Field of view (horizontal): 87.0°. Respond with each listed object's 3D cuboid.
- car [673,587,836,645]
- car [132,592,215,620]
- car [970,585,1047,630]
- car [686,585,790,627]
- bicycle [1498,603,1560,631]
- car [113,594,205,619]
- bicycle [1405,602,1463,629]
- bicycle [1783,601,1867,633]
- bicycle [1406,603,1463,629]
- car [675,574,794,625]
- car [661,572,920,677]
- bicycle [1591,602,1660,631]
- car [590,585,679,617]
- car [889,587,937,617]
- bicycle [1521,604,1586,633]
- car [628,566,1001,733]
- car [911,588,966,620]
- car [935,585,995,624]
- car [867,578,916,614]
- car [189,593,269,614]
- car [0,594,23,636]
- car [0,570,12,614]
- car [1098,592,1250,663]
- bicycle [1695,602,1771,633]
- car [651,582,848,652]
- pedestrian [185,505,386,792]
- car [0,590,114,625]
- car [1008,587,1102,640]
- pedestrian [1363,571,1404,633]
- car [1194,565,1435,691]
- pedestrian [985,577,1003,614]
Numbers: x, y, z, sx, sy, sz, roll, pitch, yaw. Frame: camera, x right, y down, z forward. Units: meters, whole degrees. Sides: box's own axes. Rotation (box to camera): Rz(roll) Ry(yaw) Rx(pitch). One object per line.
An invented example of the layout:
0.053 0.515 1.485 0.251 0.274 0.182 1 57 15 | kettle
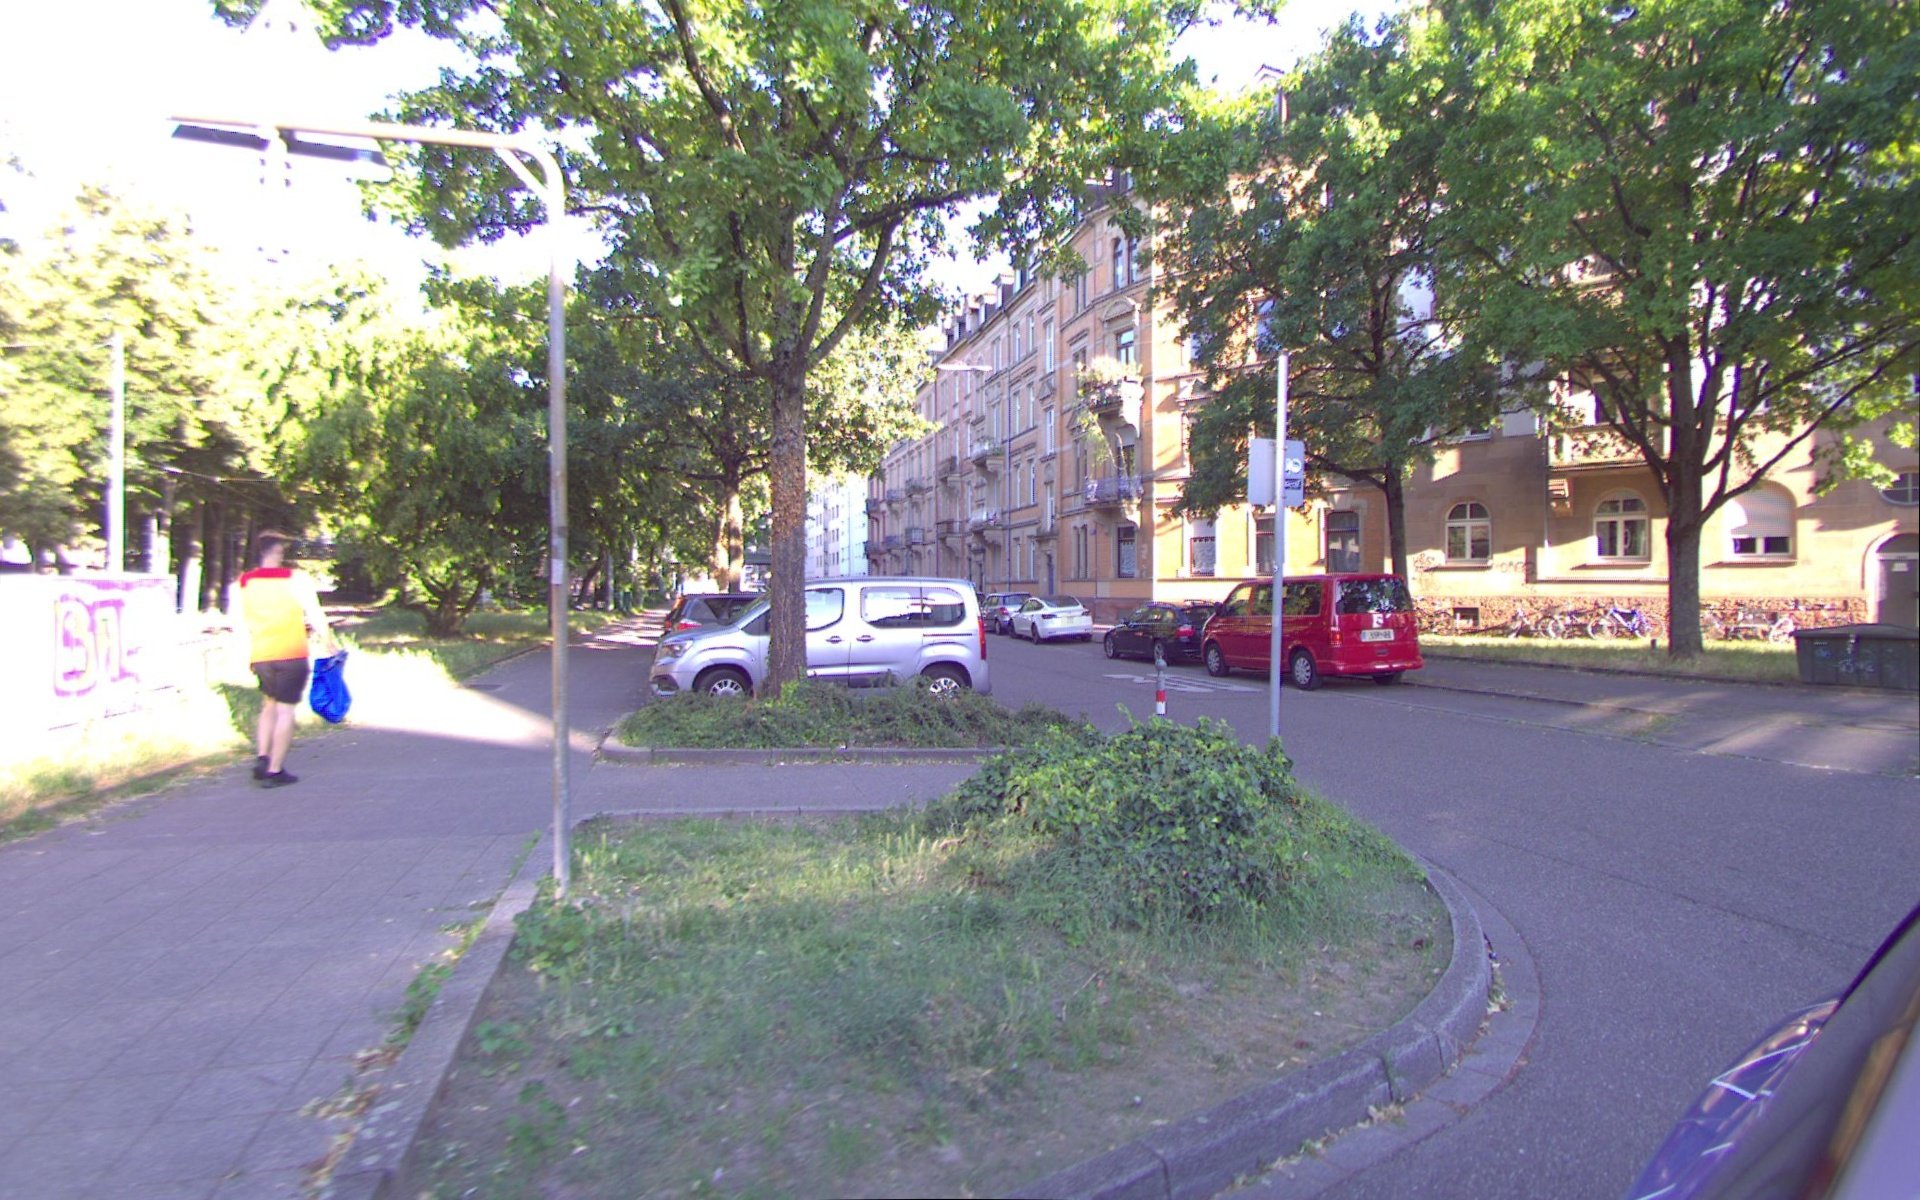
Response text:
-6.119 0.440 30.281 4.617 1.592 2.004 0 2 -12 | car
-51.222 0.360 65.968 3.919 1.789 1.751 0 0 -7 | car
1.742 0.247 37.543 1.654 1.493 3.890 -3 1 -16 | car
-8.795 0.237 40.020 3.916 1.600 1.769 0 0 -16 | car
15.989 0.473 28.461 1.503 0.741 0.363 0 1 41 | bicycle
-43.847 0.337 55.429 3.931 1.295 1.745 0 0 7 | car
13.985 0.451 29.880 1.503 0.741 0.409 0 1 41 | bicycle
20.820 0.419 24.389 1.503 0.741 0.363 -2 -1 41 | bicycle
14.169 0.475 30.255 1.503 0.741 0.363 0 1 41 | bicycle
-9.474 -0.027 42.627 4.758 2.064 2.159 0 0 -14 | car
-3.093 0.362 18.375 4.356 1.712 1.954 -1 2 -20 | car
17.715 0.421 26.958 1.503 0.741 0.363 0 1 41 | bicycle
-15.444 0.047 48.209 3.916 1.507 1.688 0 0 -14 | car
-2.506 0.087 53.291 1.732 1.456 3.896 -3 1 -14 | car
16.256 0.495 27.725 1.503 0.741 0.363 0 1 41 | bicycle
-1.873 0.529 13.173 4.458 1.938 1.954 0 1 -12 | car
-1.077 0.154 48.423 1.732 1.401 4.298 -3 1 -13 | car
0.184 0.163 43.313 1.654 1.493 3.716 -3 1 -14 | car
-4.025 -0.245 58.730 1.873 1.906 4.735 -3 1 -14 | car
-45.790 0.213 63.411 3.931 1.295 1.745 0 0 7 | car
-31.693 0.445 31.261 4.209 1.295 1.805 0 0 8 | car
-48.058 -0.400 48.920 1.959 2.200 4.620 0 0 -26 | car
4.991 0.576 24.283 1.745 1.451 4.279 -3 1 -15 | car
19.565 0.432 25.632 1.503 0.741 0.363 0 1 41 | bicycle
-5.209 0.370 25.208 4.617 1.592 2.004 0 2 -12 | car
-4.939 0.326 7.508 0.886 1.943 1.152 1 0 -14 | pedestrian
-35.443 0.274 39.344 3.931 1.295 1.745 0 0 7 | car
2.958 0.375 32.508 1.745 1.493 4.279 -3 1 -12 | car
12.115 0.047 28.938 0.907 1.740 0.666 -1 0 40 | pedestrian
6.305 0.413 18.711 1.745 1.957 4.782 -3 1 -15 | car
1.694 -0.225 49.933 0.661 1.739 0.723 -2 1 -14 | pedestrian
